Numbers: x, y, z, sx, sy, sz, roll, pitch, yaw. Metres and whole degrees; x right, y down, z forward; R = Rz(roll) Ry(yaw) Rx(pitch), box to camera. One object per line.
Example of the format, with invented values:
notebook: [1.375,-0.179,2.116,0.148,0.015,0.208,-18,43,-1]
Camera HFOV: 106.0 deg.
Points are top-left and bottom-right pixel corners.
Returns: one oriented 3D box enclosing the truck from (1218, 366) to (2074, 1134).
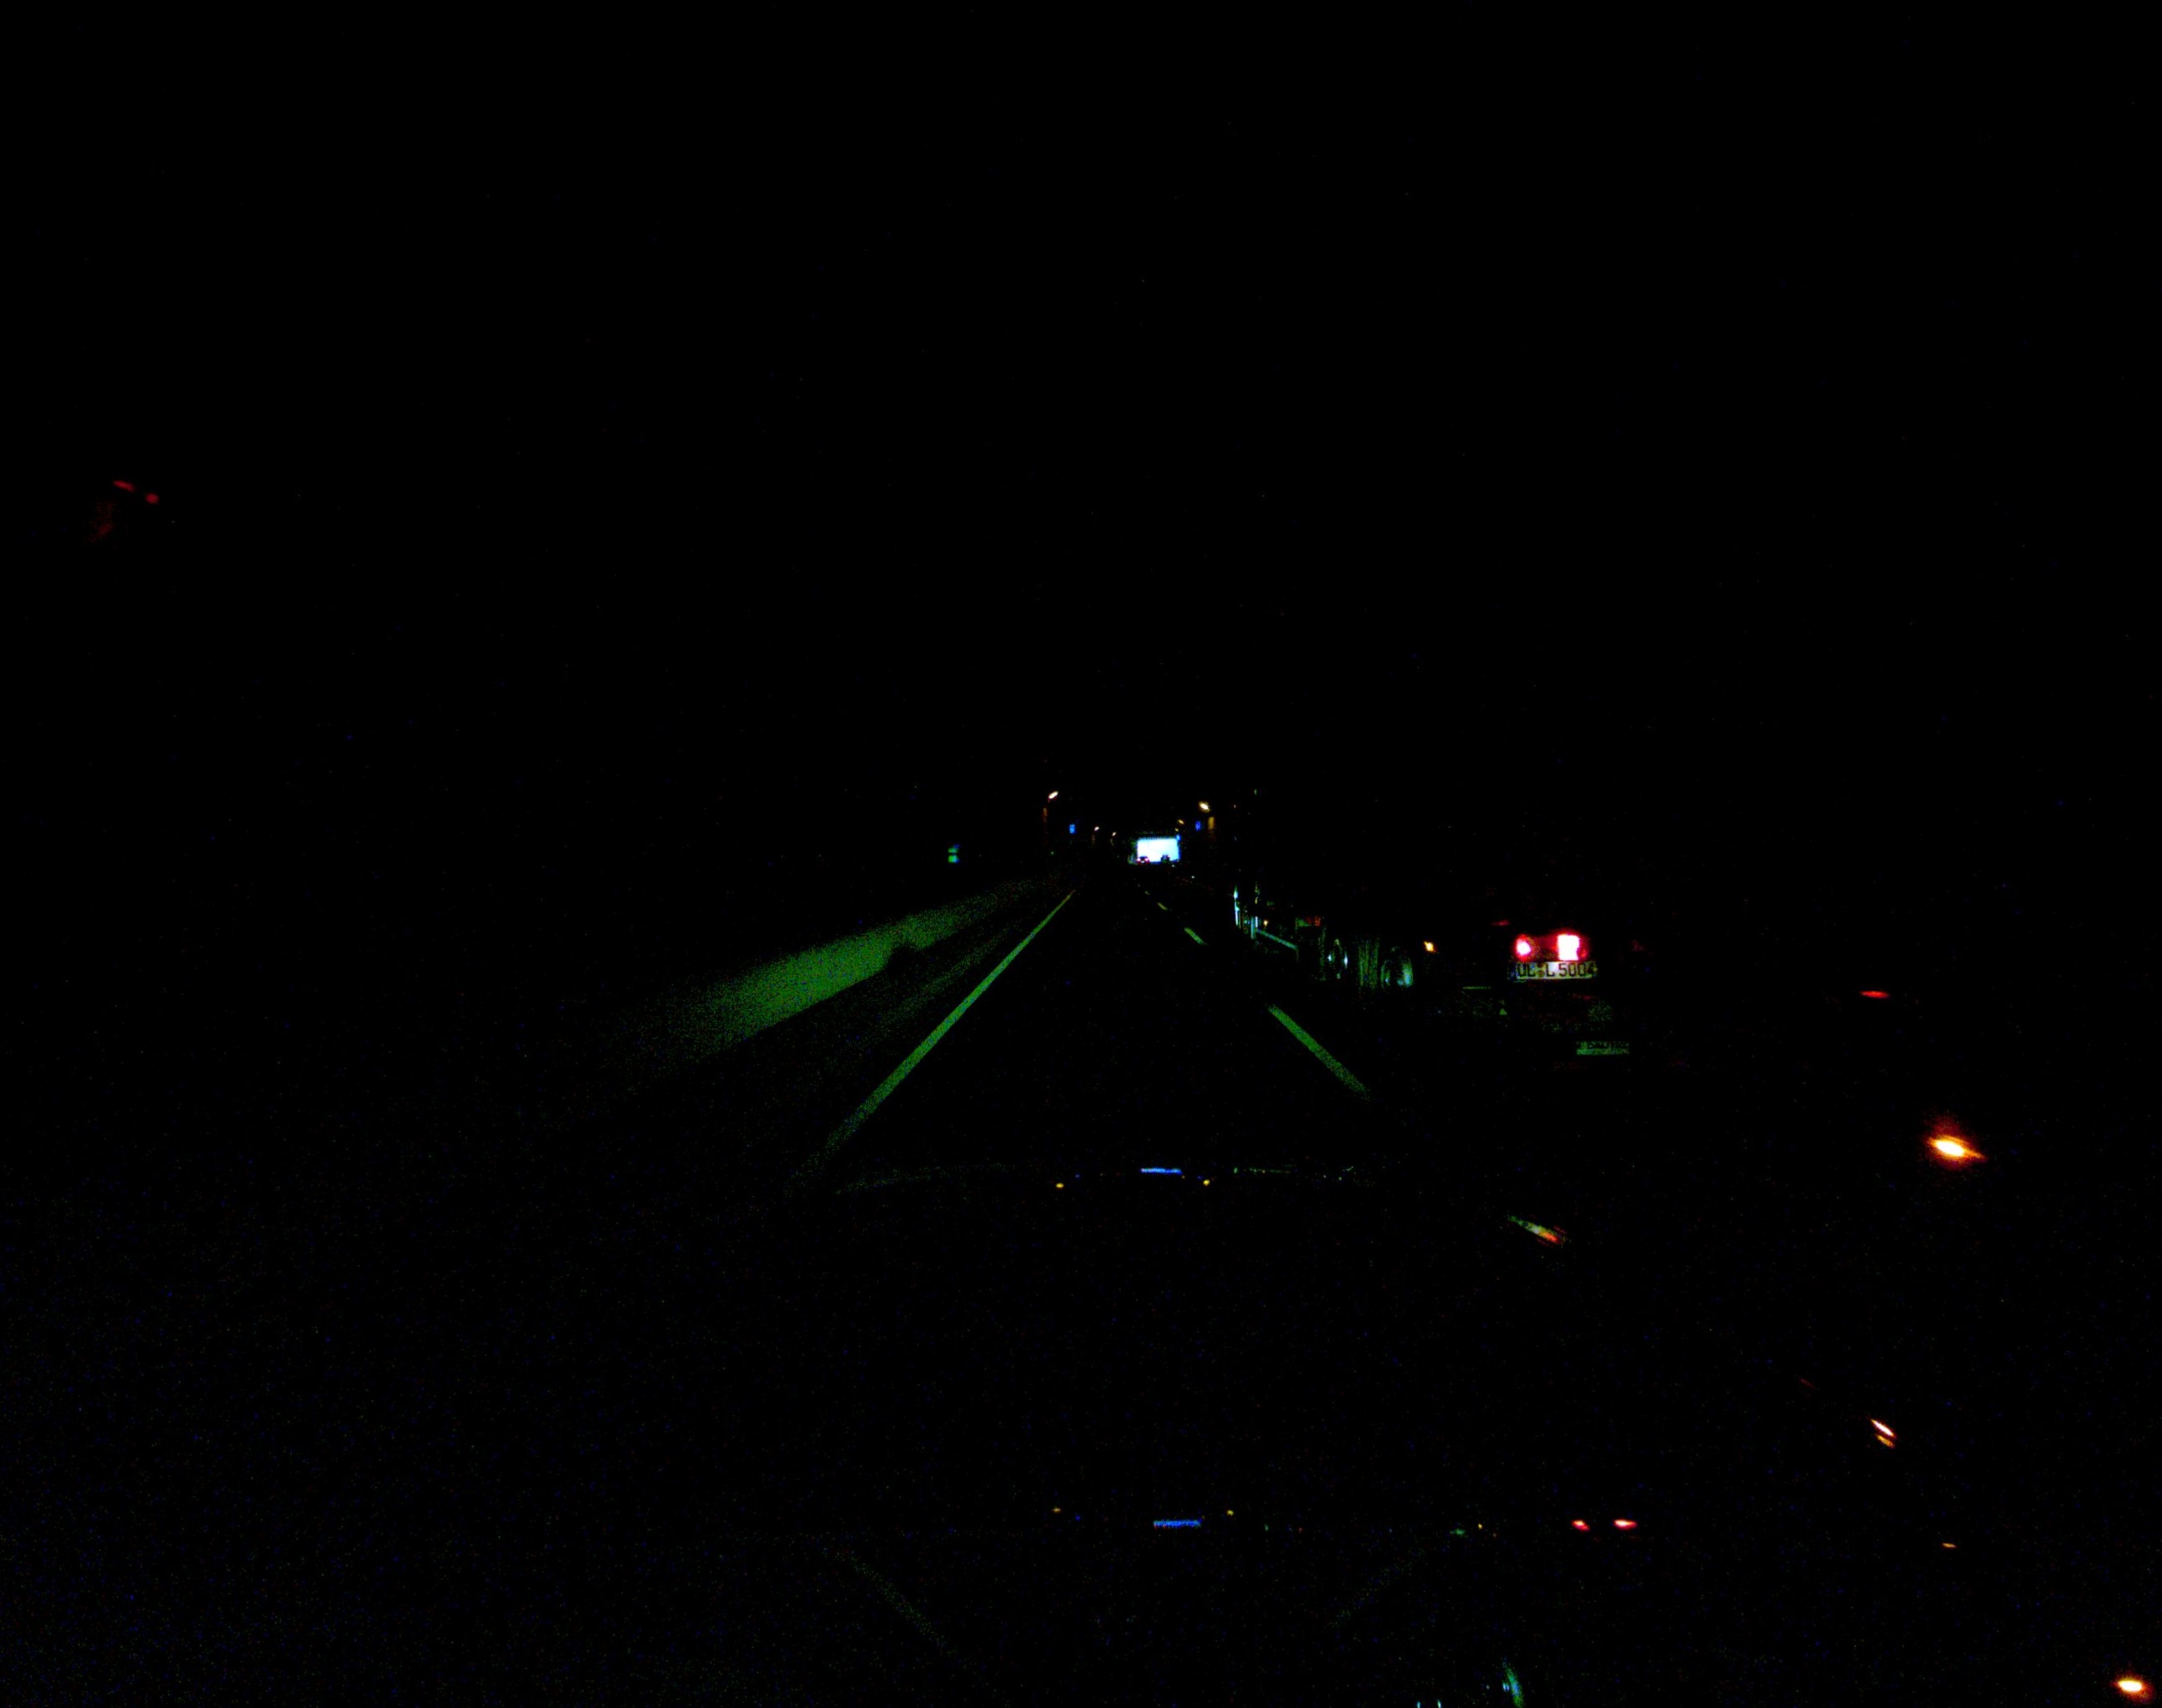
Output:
truck: [3.740,-0.536,9.160,2.878,3.913,9.911,-1,0,1]

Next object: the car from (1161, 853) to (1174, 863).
car: [15.807,0.763,148.467,1.857,1.732,4.012,-1,-1,11]

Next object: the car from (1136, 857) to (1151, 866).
car: [9.978,1.149,129.495,1.830,1.388,4.011,-1,-1,10]
